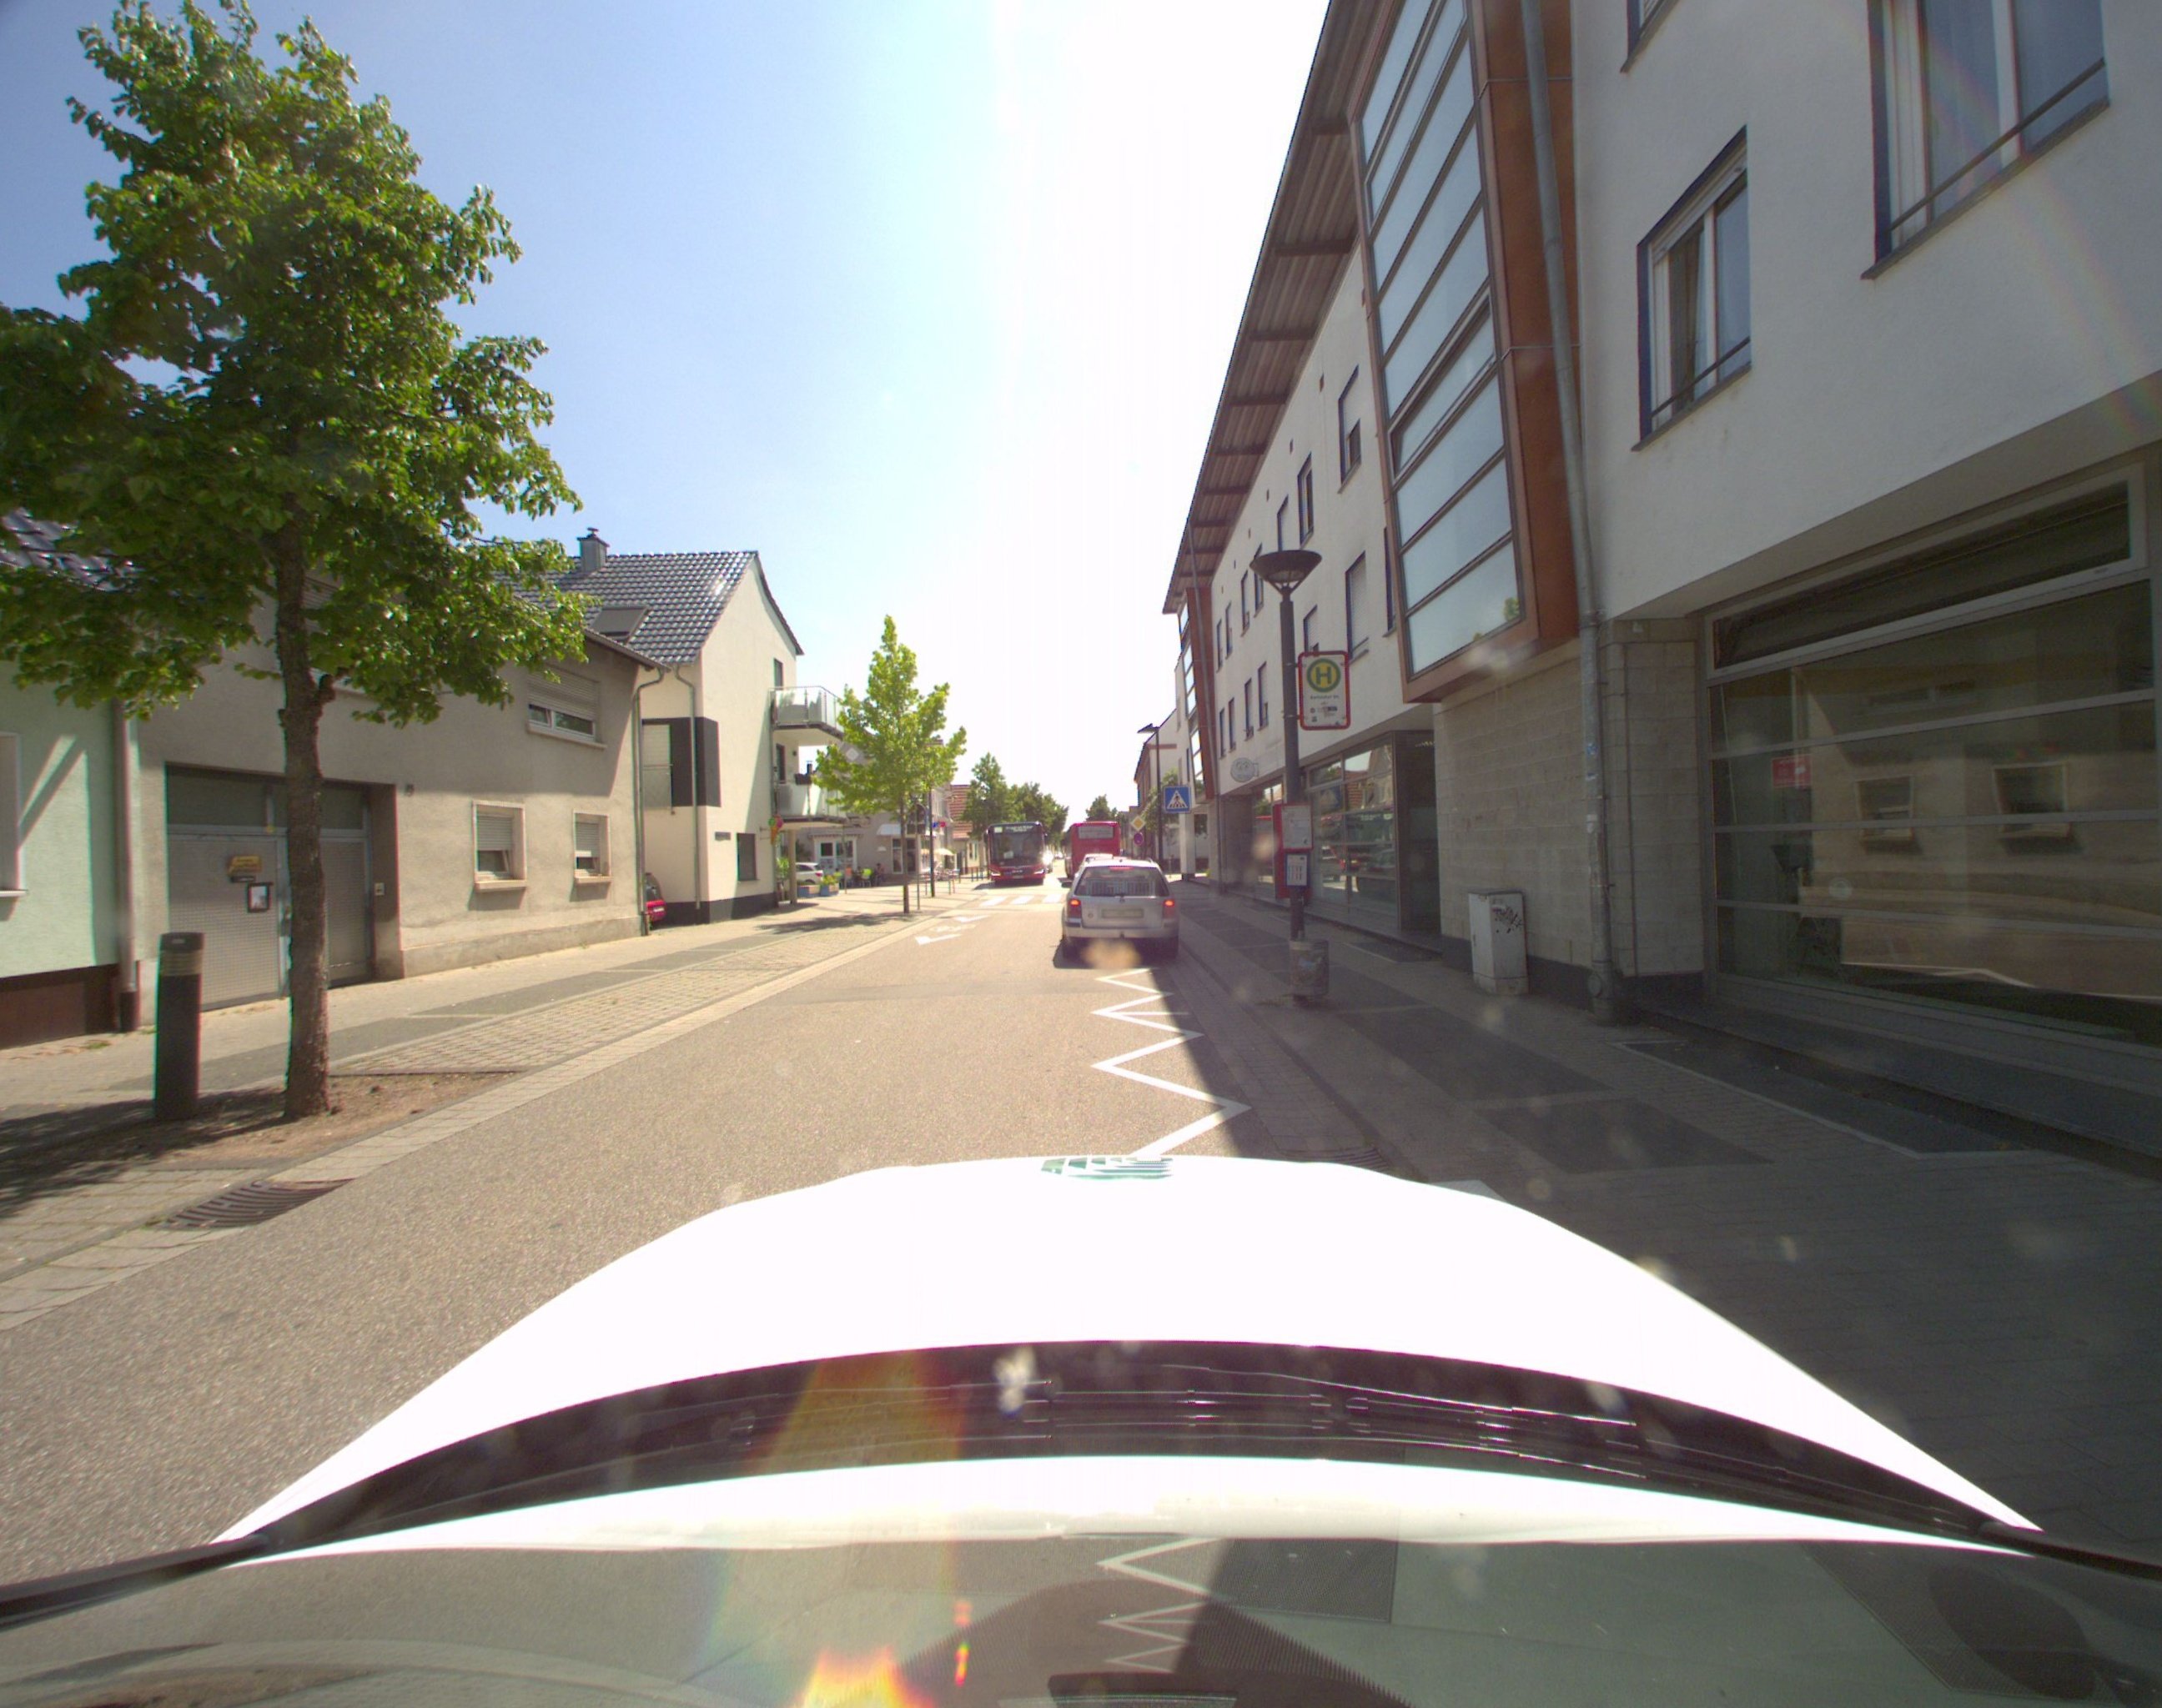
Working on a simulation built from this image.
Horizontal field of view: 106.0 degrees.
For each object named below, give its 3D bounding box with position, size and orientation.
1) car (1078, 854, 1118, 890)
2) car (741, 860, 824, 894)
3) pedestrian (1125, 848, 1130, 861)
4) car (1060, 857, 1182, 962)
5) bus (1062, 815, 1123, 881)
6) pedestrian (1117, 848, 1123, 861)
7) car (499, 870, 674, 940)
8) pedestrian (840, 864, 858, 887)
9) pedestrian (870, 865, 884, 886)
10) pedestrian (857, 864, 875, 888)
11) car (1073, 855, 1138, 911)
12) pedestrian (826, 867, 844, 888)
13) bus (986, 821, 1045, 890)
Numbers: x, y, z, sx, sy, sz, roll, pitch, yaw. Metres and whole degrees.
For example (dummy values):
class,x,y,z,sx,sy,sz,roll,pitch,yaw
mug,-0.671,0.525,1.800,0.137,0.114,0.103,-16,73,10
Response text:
class,x,y,z,sx,sy,sz,roll,pitch,yaw
car,0.738,0.706,34.527,1.588,1.430,3.680,-1,0,1
car,-15.578,1.172,42.701,3.925,1.545,1.510,-2,2,-17
pedestrian,5.939,0.071,104.223,0.604,1.667,0.789,-2,0,-1
car,0.572,0.763,12.999,1.671,1.430,3.679,0,0,0
bus,0.417,-0.253,47.740,2.734,3.298,12.691,-1,0,-3
pedestrian,5.029,0.118,105.314,0.604,1.667,0.789,-2,0,-1
car,-11.666,1.171,19.361,3.109,1.443,1.584,-2,0,-5
pedestrian,-12.848,1.180,45.130,0.639,1.289,0.780,1,-1,-43
pedestrian,-11.521,1.223,46.080,0.620,1.179,0.695,-2,0,-4
pedestrian,-11.821,1.188,44.791,0.639,1.289,0.780,1,-1,-43
car,0.656,0.751,22.971,1.671,1.430,3.679,-1,0,0
pedestrian,-13.456,1.293,44.494,0.639,1.116,0.780,1,-1,-43
bus,-3.614,0.068,46.387,2.663,3.123,17.781,-1,0,-4
